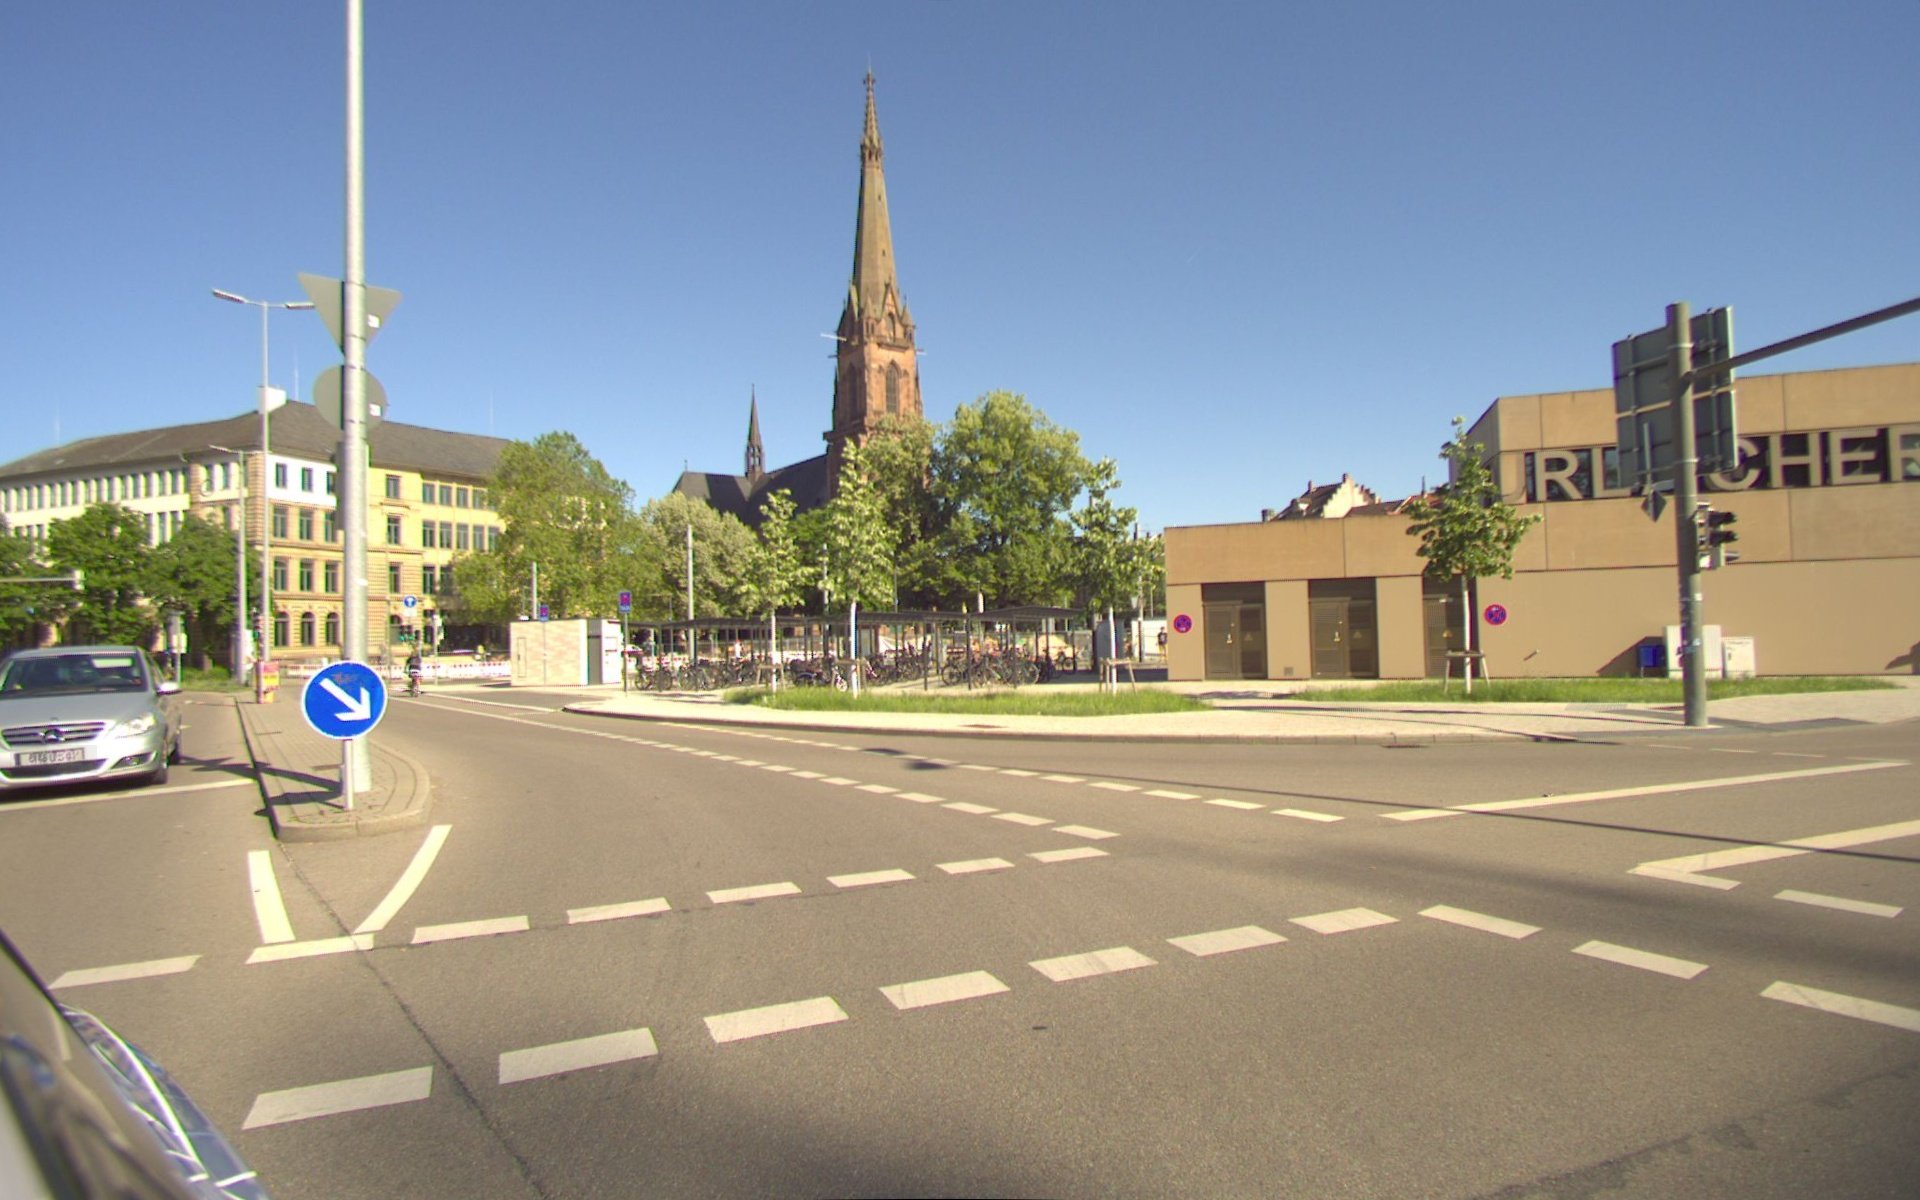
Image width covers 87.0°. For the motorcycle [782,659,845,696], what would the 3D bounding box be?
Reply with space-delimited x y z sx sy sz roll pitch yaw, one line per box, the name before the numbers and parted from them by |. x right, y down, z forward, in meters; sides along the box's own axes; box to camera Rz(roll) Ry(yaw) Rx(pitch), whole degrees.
motorcycle | -4.750 2.499 32.725 1.970 1.128 0.591 -3 -3 21

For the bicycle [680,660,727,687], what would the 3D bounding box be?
bicycle | -10.204 2.930 40.260 1.772 1.046 0.565 -2 -3 17

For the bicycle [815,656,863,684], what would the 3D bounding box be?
bicycle | -4.657 2.703 38.904 1.772 1.046 0.565 -2 -3 17

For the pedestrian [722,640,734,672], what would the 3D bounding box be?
pedestrian | -13.147 3.169 57.284 0.530 1.736 0.683 -3 -7 -6

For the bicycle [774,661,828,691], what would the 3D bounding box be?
bicycle | -5.546 2.645 35.264 1.772 1.046 0.565 -2 -3 17

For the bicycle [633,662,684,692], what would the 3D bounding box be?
bicycle | -11.052 2.823 37.077 1.772 1.046 0.565 -2 -3 17

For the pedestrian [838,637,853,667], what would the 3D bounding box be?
pedestrian | -6.488 2.930 57.455 0.558 1.667 0.519 -3 -1 -36

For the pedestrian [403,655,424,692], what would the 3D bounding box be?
pedestrian | -26.520 3.565 49.120 0.777 1.693 0.650 -3 -1 -35

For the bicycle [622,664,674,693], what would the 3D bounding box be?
bicycle | -11.230 2.828 36.453 1.772 1.046 0.565 -2 -3 17

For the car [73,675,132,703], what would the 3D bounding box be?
car | -51.250 5.313 60.472 4.294 1.484 1.973 -4 -1 40

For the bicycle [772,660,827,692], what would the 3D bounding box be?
bicycle | -5.496 2.601 34.643 1.772 1.046 0.565 -2 -3 17

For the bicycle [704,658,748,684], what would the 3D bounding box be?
bicycle | -9.723 2.953 42.054 1.772 1.046 0.565 -2 -3 17

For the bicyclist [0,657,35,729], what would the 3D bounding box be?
bicyclist | -22.621 2.205 24.120 0.772 1.675 0.778 -1 -2 -36

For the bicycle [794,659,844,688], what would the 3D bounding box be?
bicycle | -5.167 2.687 37.092 1.772 1.046 0.565 -2 -3 17

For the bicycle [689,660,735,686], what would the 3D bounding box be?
bicycle | -10.039 2.945 40.902 1.772 1.046 0.565 -2 -3 17

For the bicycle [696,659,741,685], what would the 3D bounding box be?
bicycle | -9.886 2.955 41.476 1.772 1.046 0.565 -2 -3 17

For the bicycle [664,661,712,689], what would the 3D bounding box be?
bicycle | -10.509 2.882 39.071 1.772 1.046 0.565 -2 -3 17

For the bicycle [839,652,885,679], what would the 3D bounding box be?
bicycle | -3.963 2.657 40.985 1.772 1.046 0.565 -2 -3 17

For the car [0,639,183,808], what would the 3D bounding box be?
car | -10.462 1.353 12.044 1.743 1.606 4.649 -1 -2 -36

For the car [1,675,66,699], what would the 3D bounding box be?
car | -79.209 7.446 86.578 1.976 1.830 3.793 -2 -2 6

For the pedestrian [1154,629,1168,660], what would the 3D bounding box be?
pedestrian | 9.913 2.198 49.971 0.584 1.530 0.557 -2 -3 19

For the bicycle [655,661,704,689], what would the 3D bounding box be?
bicycle | -10.665 2.859 38.462 1.772 1.046 0.565 -2 -3 17

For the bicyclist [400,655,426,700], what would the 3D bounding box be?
bicyclist | -20.173 2.850 37.325 0.710 1.633 0.980 1 -4 -36

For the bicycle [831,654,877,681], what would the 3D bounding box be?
bicycle | -4.228 2.677 40.304 1.772 1.046 0.565 -2 -3 17

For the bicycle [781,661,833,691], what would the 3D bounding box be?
bicycle | -5.418 2.680 35.831 1.772 1.046 0.565 -2 -3 17

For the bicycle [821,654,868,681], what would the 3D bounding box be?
bicycle | -4.510 2.640 39.482 1.772 1.046 0.565 -2 -3 17

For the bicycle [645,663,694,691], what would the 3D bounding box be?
bicycle | -10.852 2.878 37.801 1.772 1.046 0.565 -2 -3 17

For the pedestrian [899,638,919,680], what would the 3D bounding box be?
pedestrian | -2.180 2.517 43.300 0.675 1.736 0.615 -3 -3 15

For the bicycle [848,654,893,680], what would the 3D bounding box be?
bicycle | -3.698 2.740 41.702 1.772 1.046 0.565 -2 -3 17

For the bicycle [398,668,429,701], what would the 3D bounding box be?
bicycle | -20.137 3.099 37.276 0.736 1.174 1.874 2 -4 -36

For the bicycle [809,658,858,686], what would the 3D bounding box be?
bicycle | -4.795 2.723 38.322 1.772 1.046 0.565 -2 -3 17

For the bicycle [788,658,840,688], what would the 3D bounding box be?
bicycle | -5.272 2.627 36.474 1.772 1.046 0.565 -2 -3 17
